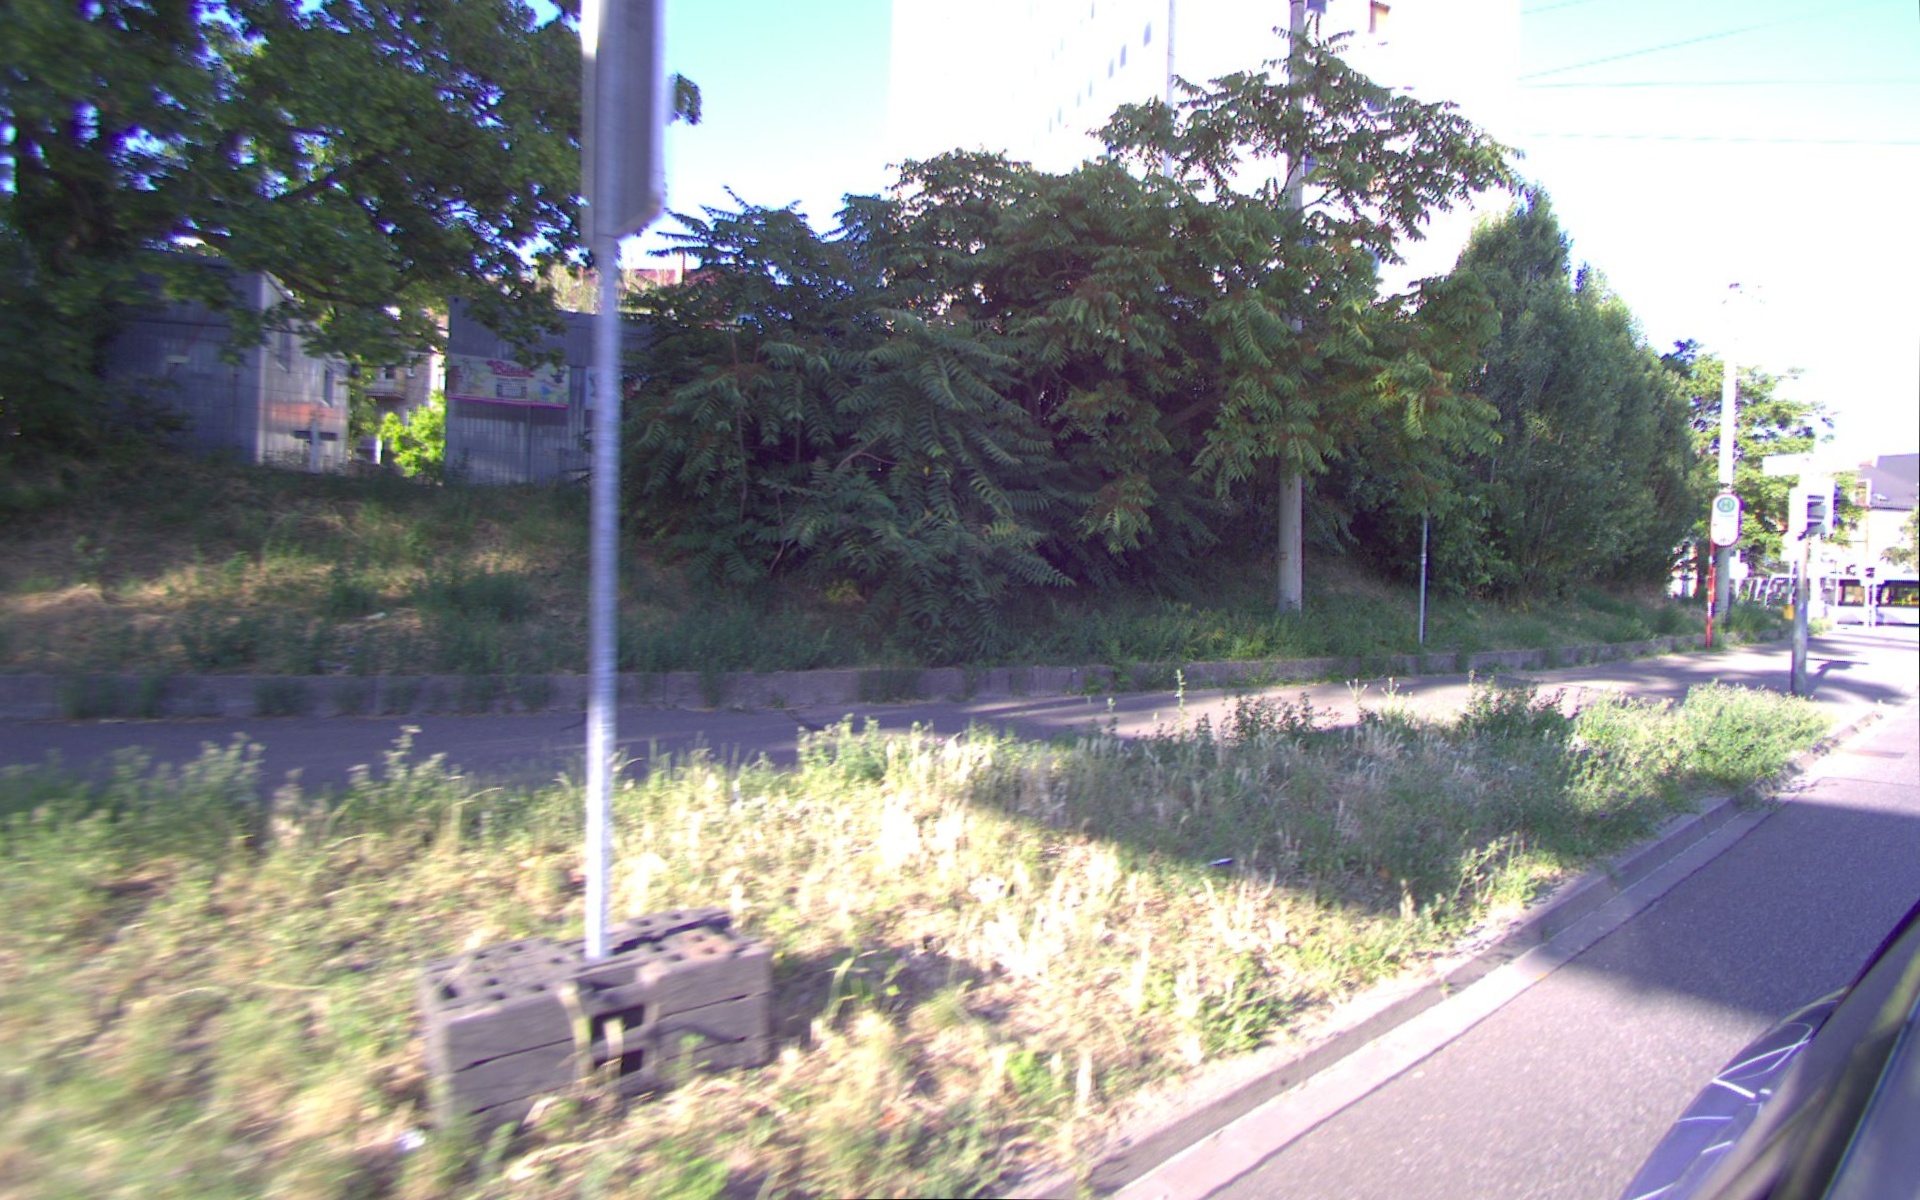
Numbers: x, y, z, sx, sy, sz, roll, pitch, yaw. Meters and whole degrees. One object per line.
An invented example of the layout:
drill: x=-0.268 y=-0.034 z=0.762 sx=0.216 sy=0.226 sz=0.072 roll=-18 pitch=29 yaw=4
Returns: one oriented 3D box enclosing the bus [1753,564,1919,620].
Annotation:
bus: x=53.374 y=-0.485 z=60.098 sx=9.453 sy=3.063 sz=2.598 roll=2 pitch=1 yaw=19
